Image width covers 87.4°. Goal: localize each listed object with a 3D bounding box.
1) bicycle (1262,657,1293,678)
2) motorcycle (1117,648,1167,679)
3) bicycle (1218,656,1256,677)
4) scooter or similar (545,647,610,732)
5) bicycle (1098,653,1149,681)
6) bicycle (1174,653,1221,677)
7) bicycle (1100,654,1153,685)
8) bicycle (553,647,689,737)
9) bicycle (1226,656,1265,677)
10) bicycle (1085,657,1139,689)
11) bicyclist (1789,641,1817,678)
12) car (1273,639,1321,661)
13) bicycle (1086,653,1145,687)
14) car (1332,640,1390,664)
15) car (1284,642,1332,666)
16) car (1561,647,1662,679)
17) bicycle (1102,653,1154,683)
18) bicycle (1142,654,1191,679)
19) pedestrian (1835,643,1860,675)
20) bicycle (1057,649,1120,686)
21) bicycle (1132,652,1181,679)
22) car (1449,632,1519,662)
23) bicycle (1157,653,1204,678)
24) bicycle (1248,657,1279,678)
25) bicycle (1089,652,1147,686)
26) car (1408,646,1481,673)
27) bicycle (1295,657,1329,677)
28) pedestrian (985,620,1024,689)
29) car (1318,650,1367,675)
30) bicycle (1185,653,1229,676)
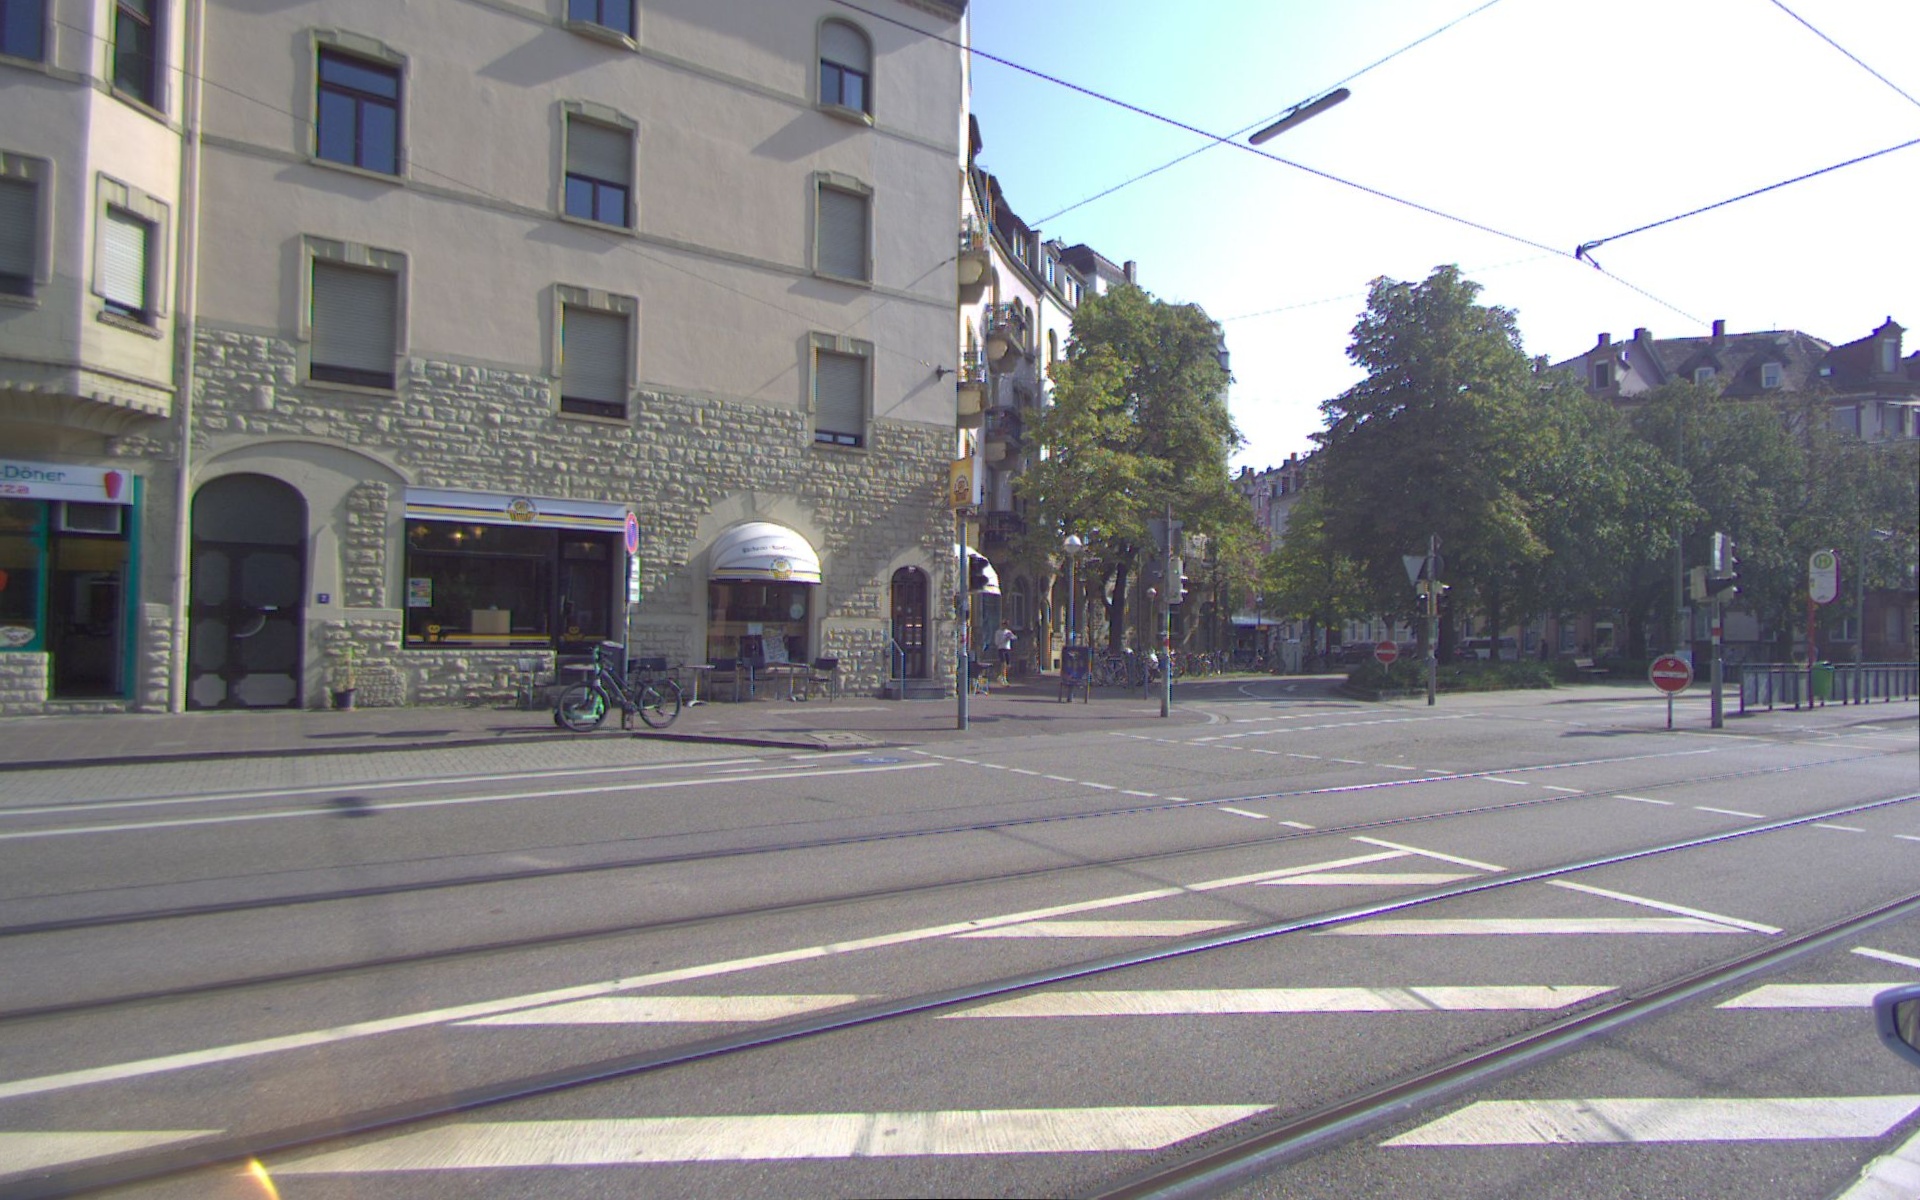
[{"bbox_3d":[15.406,3.272,48.700,1.751,0.990,0.422,2,-2,-32],"label":"bicycle"},{"bbox_3d":[7.227,2.508,39.866,1.839,1.169,0.607,0,-2,25],"label":"motorcycle"},{"bbox_3d":[13.575,3.246,49.287,1.742,0.990,0.518,-1,-3,37],"label":"bicycle"},{"bbox_3d":[-5.660,1.305,14.895,0.359,1.213,1.035,0,-2,13],"label":"scooter or similar"},{"bbox_3d":[6.086,2.490,37.326,1.769,0.989,0.661,1,-2,18],"label":"bicycle"},{"bbox_3d":[10.422,2.839,44.069,1.865,0.993,0.686,0,-2,25],"label":"bicycle"},{"bbox_3d":[5.819,2.420,35.127,1.769,0.997,0.570,1,-2,18],"label":"bicycle"},{"bbox_3d":[-4.920,1.312,14.682,1.843,1.242,0.449,2,-3,-41],"label":"bicycle"},{"bbox_3d":[14.159,3.268,49.809,1.741,0.990,0.603,-1,-3,36],"label":"bicycle"},{"bbox_3d":[4.660,2.236,30.876,1.577,0.932,0.479,1,-2,-1],"label":"bicycle"},{"bbox_3d":[43.120,3.038,51.403,0.970,1.881,0.493,0,-2,20],"label":"bicyclist"},{"bbox_3d":[29.362,4.310,87.603,1.969,1.852,3.985,1,-2,-18],"label":"car"},{"bbox_3d":[4.985,2.254,32.321,1.840,1.016,0.570,1,-2,5],"label":"bicycle"},{"bbox_3d":[28.871,3.730,72.418,1.964,1.589,4.330,1,-2,-9],"label":"car"},{"bbox_3d":[27.809,4.297,80.461,1.964,1.852,3.994,1,-2,-9],"label":"car"},{"bbox_3d":[34.303,3.283,52.932,4.272,1.589,1.991,-1,-3,40],"label":"car"},{"bbox_3d":[6.087,2.446,36.311,1.769,0.996,0.661,1,-2,18],"label":"bicycle"},{"bbox_3d":[8.589,2.752,41.788,1.876,0.947,0.737,0,-2,25],"label":"bicycle"},{"bbox_3d":[48.525,3.209,54.918,0.756,1.753,0.752,0,-2,21],"label":"pedestrian"},{"bbox_3d":[4.029,2.118,31.531,1.845,1.127,0.569,2,-2,-11],"label":"bicycle"},{"bbox_3d":[7.951,2.648,40.682,1.843,1.041,0.664,0,-2,25],"label":"bicycle"},{"bbox_3d":[33.346,2.965,64.076,1.964,1.852,3.994,1,-2,-9],"label":"car"},{"bbox_3d":[9.458,2.790,43.051,1.865,0.993,0.686,0,-2,25],"label":"bicycle"},{"bbox_3d":[14.728,3.256,48.711,1.751,0.990,0.422,2,-2,-32],"label":"bicycle"},{"bbox_3d":[5.308,2.310,33.783,1.841,1.047,0.570,1,-2,20],"label":"bicycle"},{"bbox_3d":[30.034,3.680,62.408,1.964,1.589,4.331,1,-2,-9],"label":"car"},{"bbox_3d":[17.859,3.388,51.000,0.597,0.990,1.760,1,-2,-23],"label":"bicycle"},{"bbox_3d":[1.276,1.559,28.861,0.767,1.918,0.887,2,-2,-31],"label":"pedestrian"},{"bbox_3d":[30.742,5.020,80.817,1.964,1.852,3.994,1,-2,-9],"label":"car"},{"bbox_3d":[11.149,2.917,45.452,1.851,0.947,0.635,-1,-3,41],"label":"bicycle"}]
